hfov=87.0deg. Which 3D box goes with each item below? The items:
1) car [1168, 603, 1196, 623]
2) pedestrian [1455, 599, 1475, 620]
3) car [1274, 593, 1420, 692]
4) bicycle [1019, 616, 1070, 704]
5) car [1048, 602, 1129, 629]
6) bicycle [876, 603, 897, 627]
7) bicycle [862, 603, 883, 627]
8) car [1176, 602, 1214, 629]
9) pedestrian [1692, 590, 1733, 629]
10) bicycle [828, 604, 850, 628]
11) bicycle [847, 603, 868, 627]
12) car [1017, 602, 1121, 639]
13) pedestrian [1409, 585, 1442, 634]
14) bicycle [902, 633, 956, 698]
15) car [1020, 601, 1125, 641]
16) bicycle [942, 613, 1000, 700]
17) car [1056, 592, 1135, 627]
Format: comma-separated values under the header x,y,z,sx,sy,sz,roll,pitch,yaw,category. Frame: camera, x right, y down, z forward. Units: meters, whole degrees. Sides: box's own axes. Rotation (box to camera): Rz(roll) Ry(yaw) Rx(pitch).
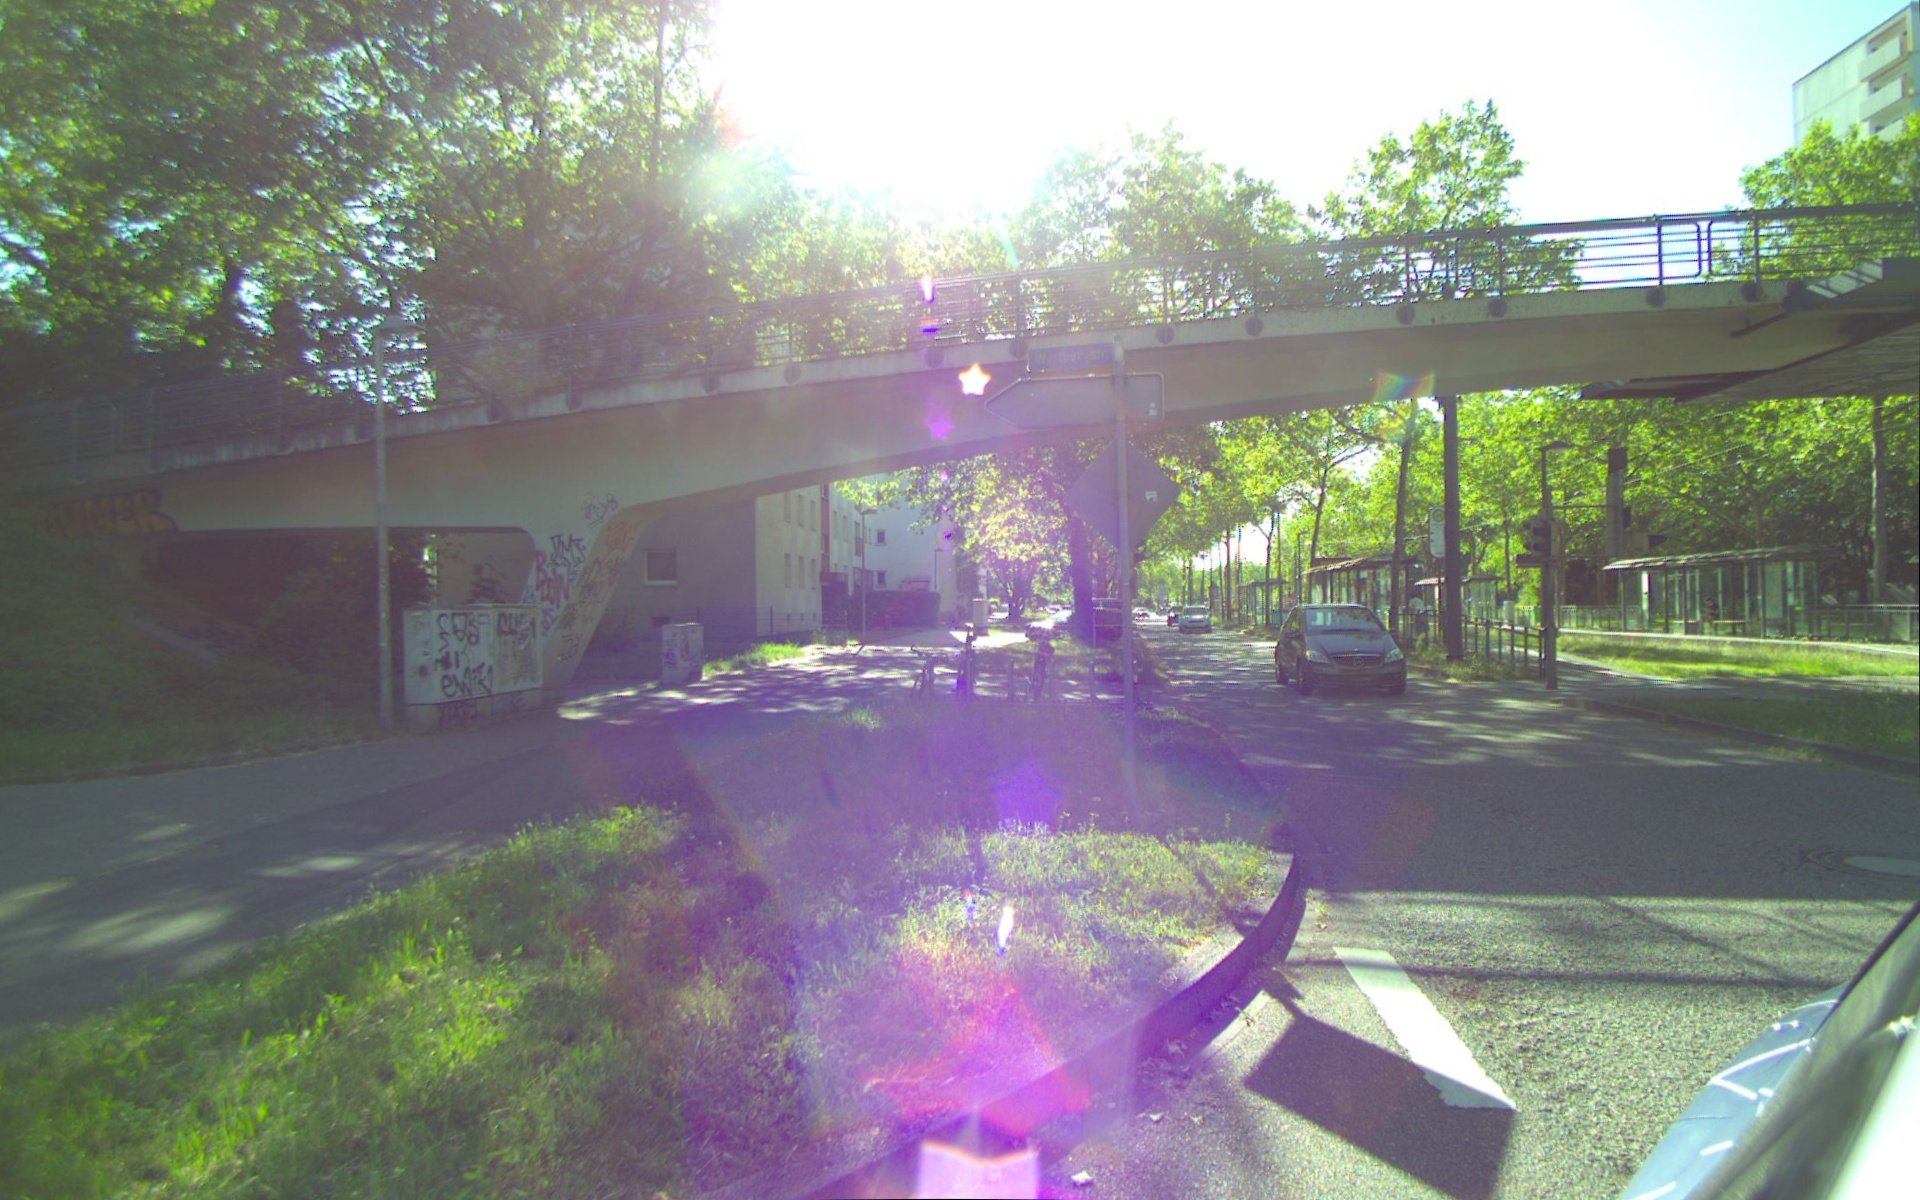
x,y,z,sx,sy,sz,roll,pitch,yaw,category
17.614,1.019,80.445,1.770,1.529,3.990,-3,-1,8,car
28.796,0.543,57.720,0.756,1.198,0.761,3,0,10,pedestrian
7.072,0.728,18.865,1.771,1.610,3.752,-2,-1,10,car
1.267,0.850,14.958,0.582,1.198,1.795,2,-1,9,bicycle
7.507,0.907,58.867,4.499,1.441,1.802,1,0,-31,car
-3.538,0.711,48.940,0.582,1.122,1.795,-1,-1,9,bicycle
-4.237,0.715,49.066,0.582,1.122,1.795,-1,-1,9,bicycle
13.702,0.887,59.098,1.770,1.558,3.990,0,-1,8,car
24.532,0.307,32.998,0.767,1.253,0.720,-1,-1,9,pedestrian
-5.868,0.758,49.256,0.582,1.122,1.795,-1,-1,9,bicycle
-4.960,0.717,49.121,0.582,1.122,1.795,-1,-1,9,bicycle
4.693,0.871,43.322,4.171,1.480,1.802,1,0,-30,car
14.093,0.295,30.659,0.715,1.435,0.680,-2,-1,10,pedestrian
-0.439,0.945,14.935,0.498,0.863,1.469,2,-1,9,bicycle
4.516,0.847,40.329,3.923,1.480,1.800,1,0,-34,car
0.187,0.804,15.071,0.582,1.198,1.795,2,-1,9,bicycle
8.326,0.581,62.151,4.498,2.078,2.020,1,0,-30,car
